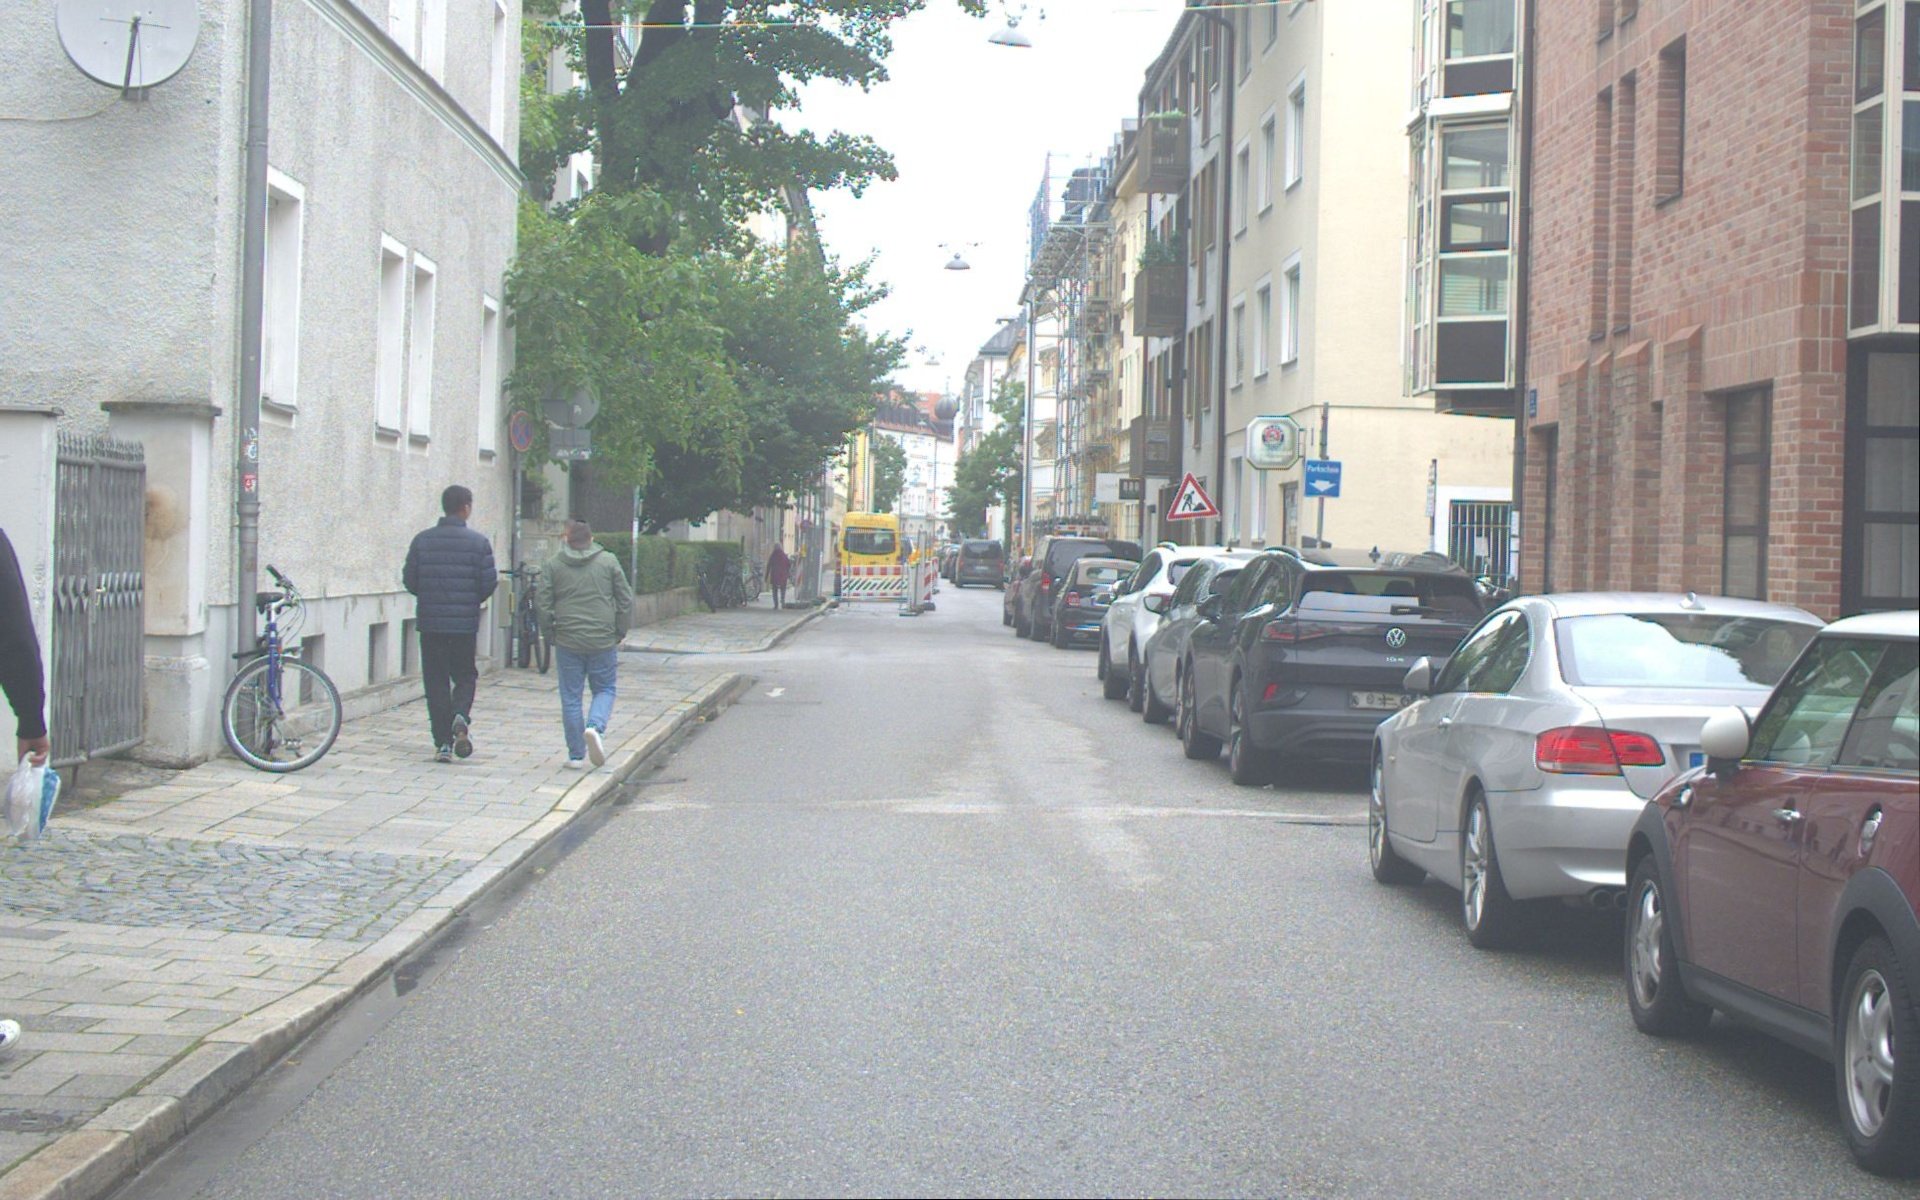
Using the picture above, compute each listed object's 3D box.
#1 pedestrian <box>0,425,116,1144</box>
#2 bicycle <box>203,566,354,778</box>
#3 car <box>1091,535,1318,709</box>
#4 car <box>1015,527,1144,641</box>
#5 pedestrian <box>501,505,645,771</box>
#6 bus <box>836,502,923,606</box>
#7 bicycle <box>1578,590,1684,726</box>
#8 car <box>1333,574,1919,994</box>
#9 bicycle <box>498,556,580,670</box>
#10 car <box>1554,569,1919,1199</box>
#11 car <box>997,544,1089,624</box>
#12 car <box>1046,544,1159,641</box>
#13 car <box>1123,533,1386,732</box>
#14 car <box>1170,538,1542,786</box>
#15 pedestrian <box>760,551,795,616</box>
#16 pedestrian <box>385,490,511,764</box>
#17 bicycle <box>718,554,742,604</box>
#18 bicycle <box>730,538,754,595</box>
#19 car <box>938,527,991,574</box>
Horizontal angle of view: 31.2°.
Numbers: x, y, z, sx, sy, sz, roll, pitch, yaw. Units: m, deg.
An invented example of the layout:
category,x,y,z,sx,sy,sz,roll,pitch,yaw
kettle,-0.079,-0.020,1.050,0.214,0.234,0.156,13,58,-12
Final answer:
category,x,y,z,sx,sy,sz,roll,pitch,yaw
pedestrian,-2.671,0.432,8.831,0.718,1.759,0.838,3,0,-1
bicycle,-4.102,0.405,20.624,0.641,1.213,1.665,0,0,-20
car,2.398,0.174,34.713,1.748,1.624,4.197,1,1,-3
car,2.082,-0.315,60.920,1.801,1.814,4.001,5,1,-3
pedestrian,-2.508,0.236,22.343,0.753,1.653,0.906,3,0,-1
bus,-2.444,-1.413,106.579,2.592,3.091,6.306,0,0,-1
bicycle,5.582,0.469,28.666,0.559,1.075,1.472,1,1,0
car,2.846,0.648,14.596,1.836,1.412,4.601,2,1,-2
bicycle,-4.320,0.117,35.232,0.473,1.107,1.761,1,1,-18
car,3.044,0.683,9.997,1.745,1.457,4.151,2,1,-2
car,1.733,-0.360,72.802,1.635,1.509,3.829,5,1,-1
car,2.313,-0.145,56.563,1.624,1.482,3.808,2,1,-1
car,2.521,0.251,30.286,1.721,1.630,3.882,0,0,-4
car,2.697,0.363,24.441,1.885,1.550,4.392,2,1,-3
pedestrian,-4.228,-0.381,79.560,0.756,1.486,0.831,0,0,-1
pedestrian,-3.306,0.165,22.237,0.612,1.707,0.823,3,0,-1
bicycle,-4.993,-0.467,74.645,0.446,1.069,2.468,0,0,-2
bicycle,-5.547,-0.854,87.443,0.514,1.413,1.934,0,0,-1
car,0.165,-2.002,138.590,1.801,1.706,3.827,5,1,-3
